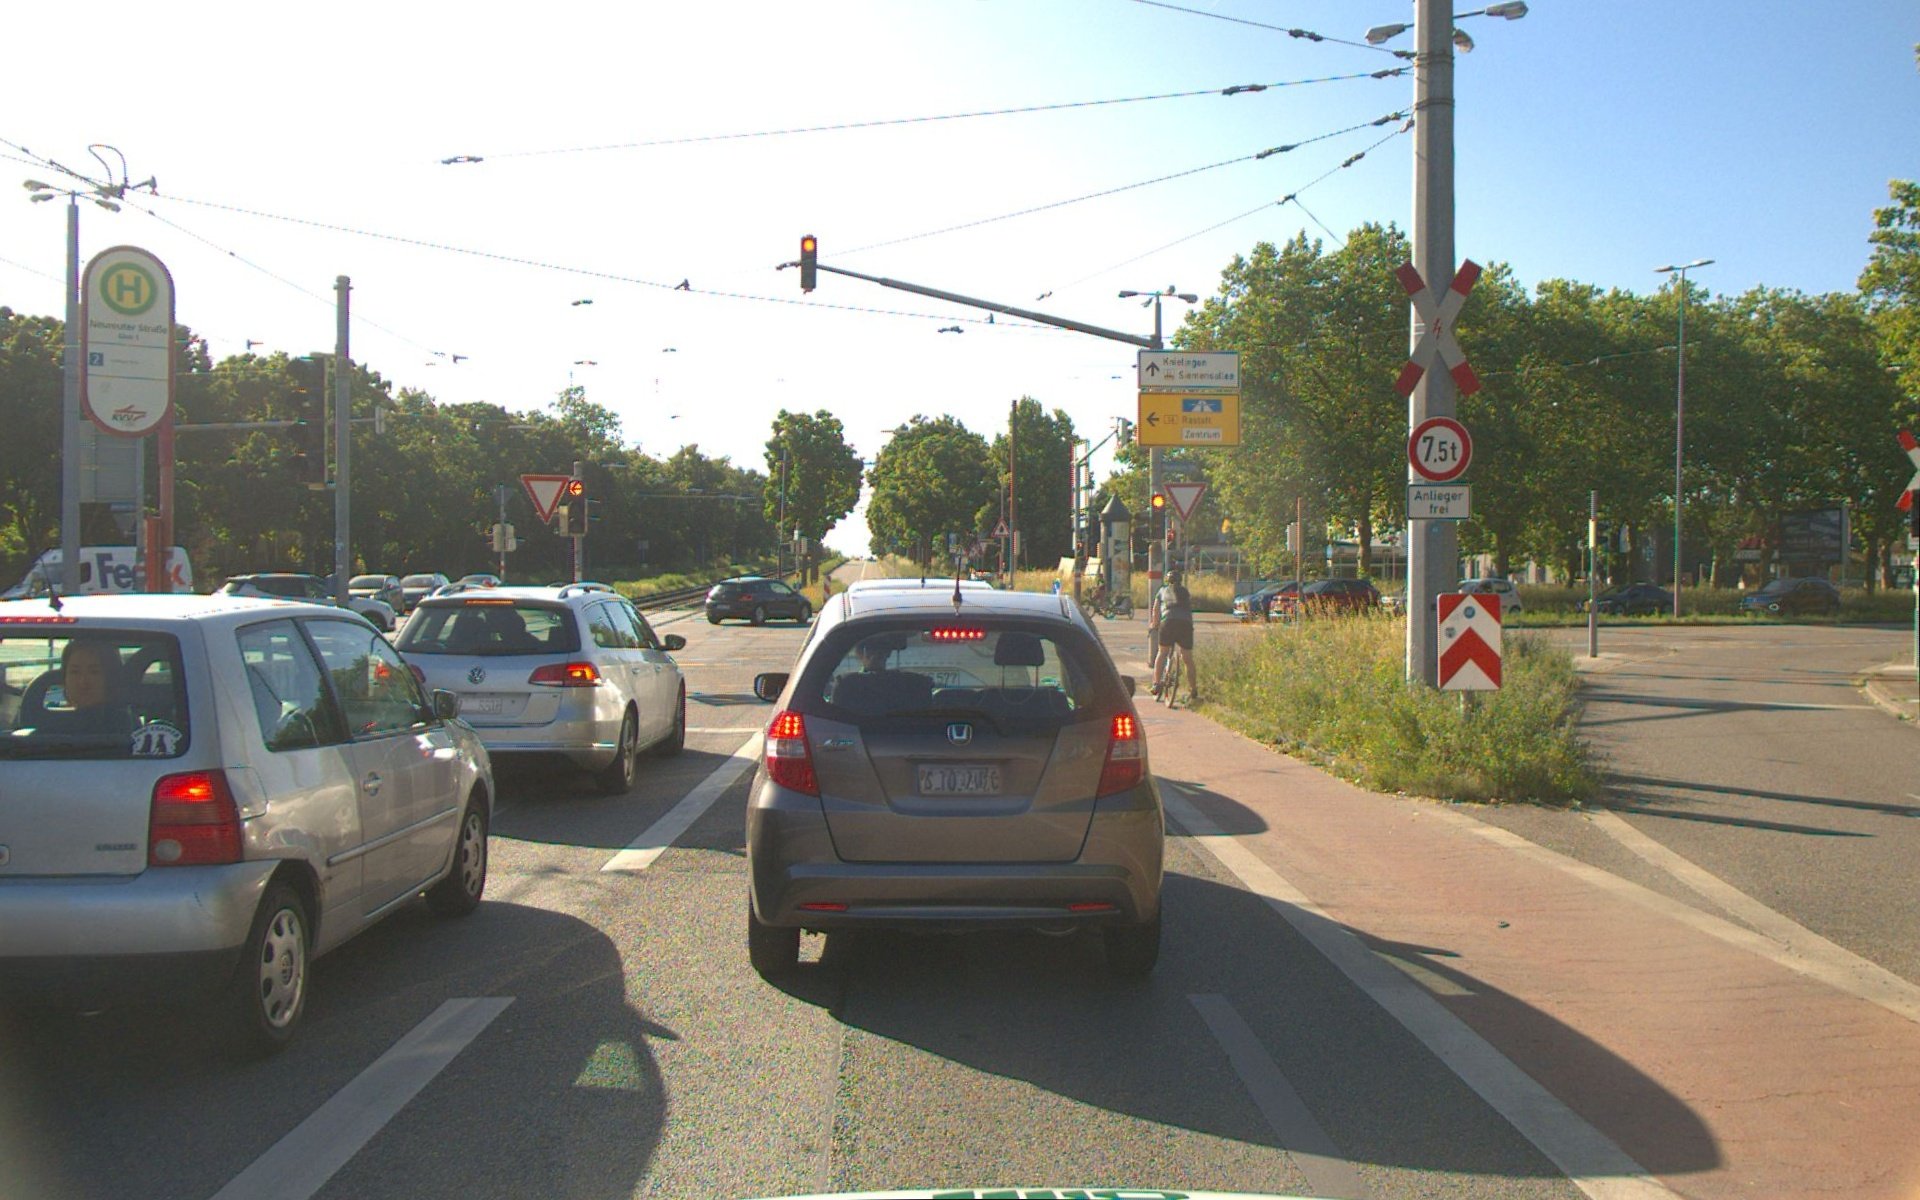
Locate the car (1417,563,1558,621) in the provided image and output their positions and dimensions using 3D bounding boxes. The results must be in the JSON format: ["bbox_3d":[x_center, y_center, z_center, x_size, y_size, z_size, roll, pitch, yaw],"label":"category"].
[{"bbox_3d":[19.211,-0.306,60.193,4.823,2.049,1.985,-1,0,-24],"label":"car"}]

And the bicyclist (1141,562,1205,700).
[{"bbox_3d":[2.773,0.399,21.554,0.652,1.746,0.948,1,0,-2],"label":"bicyclist"}]

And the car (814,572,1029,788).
[{"bbox_3d":[-0.330,0.580,14.337,1.578,1.589,4.287,0,0,-1],"label":"car"}]

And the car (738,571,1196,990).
[{"bbox_3d":[-0.062,0.630,7.705,1.635,1.487,3.584,0,0,-3],"label":"car"}]

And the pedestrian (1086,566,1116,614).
[{"bbox_3d":[5.484,-0.403,64.399,0.847,1.868,0.779,0,0,-40],"label":"pedestrian"}]

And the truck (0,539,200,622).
[{"bbox_3d":[-28.871,-0.648,55.743,1.951,2.610,6.827,0,0,16],"label":"truck"}]

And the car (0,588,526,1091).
[{"bbox_3d":[-2.896,0.695,6.437,1.586,1.442,3.350,0,0,-1],"label":"car"}]

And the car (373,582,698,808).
[{"bbox_3d":[-3.151,0.637,13.077,1.586,1.482,4.084,1,0,-1],"label":"car"}]

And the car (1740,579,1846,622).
[{"bbox_3d":[31.401,-0.011,62.329,3.922,1.571,1.579,-1,1,-26],"label":"car"}]

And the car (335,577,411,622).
[{"bbox_3d":[-21.292,-0.042,60.108,1.798,1.575,3.993,0,0,-8],"label":"car"}]

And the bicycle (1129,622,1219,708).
[{"bbox_3d":[2.761,0.812,21.633,0.707,1.006,2.875,1,0,-1],"label":"bicycle"}]

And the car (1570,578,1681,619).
[{"bbox_3d":[27.468,-0.079,68.253,4.450,1.601,1.681,-1,0,-24],"label":"car"}]

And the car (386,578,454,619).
[{"bbox_3d":[-21.458,-0.066,65.897,1.798,1.575,4.277,0,0,-8],"label":"car"}]

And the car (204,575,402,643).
[{"bbox_3d":[-15.162,0.173,38.266,3.960,1.504,1.692,-1,1,-39],"label":"car"}]

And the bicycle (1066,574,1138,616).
[{"bbox_3d":[5.547,-0.198,64.428,3.185,1.602,0.809,-1,0,-41],"label":"bicycle"}]

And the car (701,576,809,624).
[{"bbox_3d":[-6.212,-0.013,50.423,1.493,1.403,3.672,0,0,27],"label":"car"}]

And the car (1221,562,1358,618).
[{"bbox_3d":[12.098,-0.358,60.746,4.626,1.912,1.985,2,0,-24],"label":"car"}]

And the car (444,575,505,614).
[{"bbox_3d":[-21.703,-0.260,74.146,1.956,1.632,4.746,1,1,-8],"label":"car"}]

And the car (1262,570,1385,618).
[{"bbox_3d":[12.412,-0.213,56.437,3.934,1.557,1.594,-1,1,-24],"label":"car"}]
